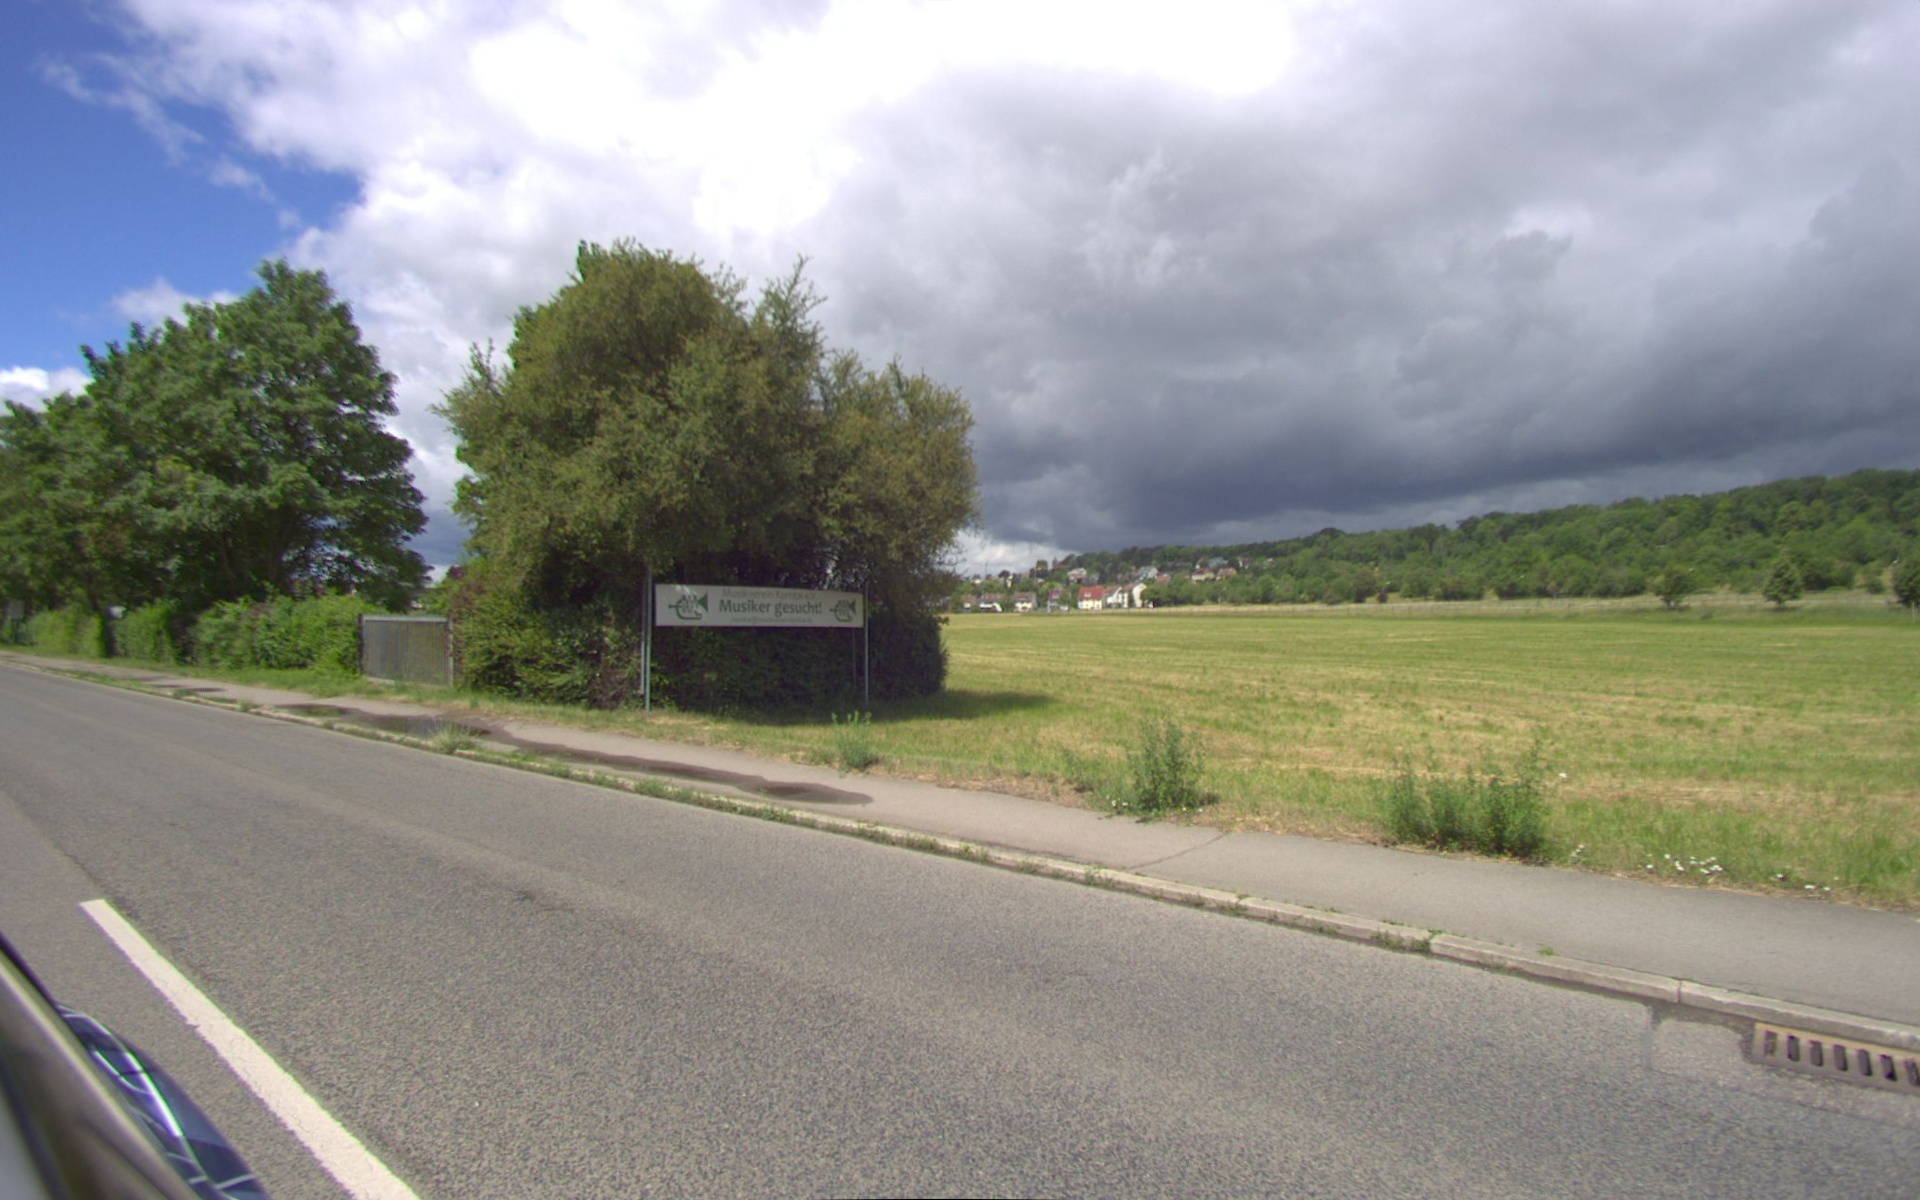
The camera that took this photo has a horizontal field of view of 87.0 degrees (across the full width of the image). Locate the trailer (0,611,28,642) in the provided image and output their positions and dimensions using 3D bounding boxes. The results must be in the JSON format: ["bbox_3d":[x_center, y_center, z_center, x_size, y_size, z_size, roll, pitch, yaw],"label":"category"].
[{"bbox_3d":[-129.509,3.455,133.267,3.301,4.114,9.386,0,-2,25],"label":"trailer"}]
